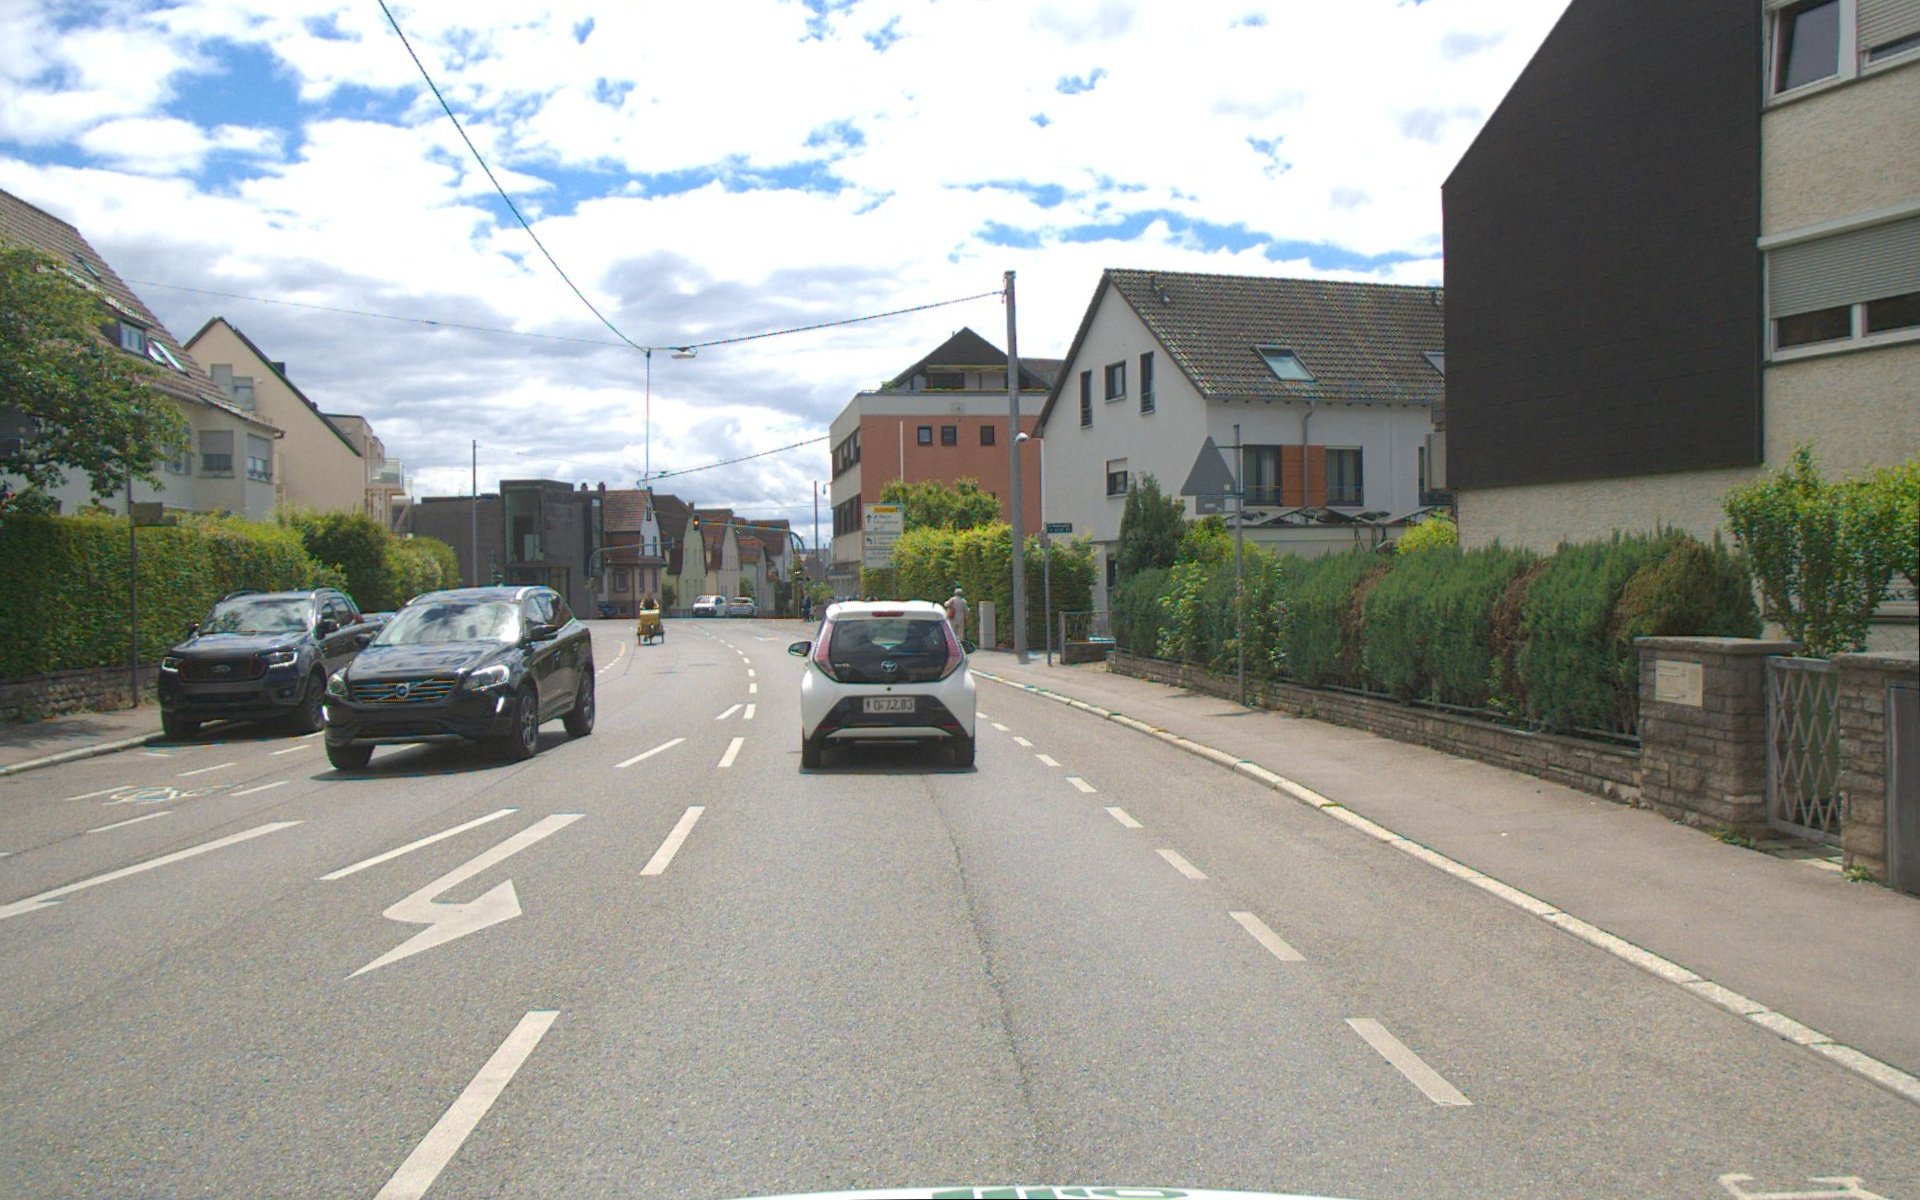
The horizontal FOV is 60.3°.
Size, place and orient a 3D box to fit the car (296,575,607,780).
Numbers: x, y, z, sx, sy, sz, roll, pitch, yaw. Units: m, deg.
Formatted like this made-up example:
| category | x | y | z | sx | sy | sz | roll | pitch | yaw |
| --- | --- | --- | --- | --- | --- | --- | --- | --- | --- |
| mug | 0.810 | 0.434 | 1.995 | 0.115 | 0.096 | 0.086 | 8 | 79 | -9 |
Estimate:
| category | x | y | z | sx | sy | sz | roll | pitch | yaw |
| --- | --- | --- | --- | --- | --- | --- | --- | --- | --- |
| car | -5.022 | 0.691 | 16.999 | 1.878 | 1.677 | 4.292 | -5 | 0 | -2 |

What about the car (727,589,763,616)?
| category | x | y | z | sx | sy | sz | roll | pitch | yaw |
| --- | --- | --- | --- | --- | --- | --- | --- | --- | --- |
| car | -16.399 | 0.196 | 126.224 | 1.952 | 1.937 | 4.002 | 1 | 0 | 4 |

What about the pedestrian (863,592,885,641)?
| category | x | y | z | sx | sy | sz | roll | pitch | yaw |
| --- | --- | --- | --- | --- | --- | --- | --- | --- | --- |
| pedestrian | -2.983 | 0.569 | 57.179 | 0.591 | 1.633 | 0.834 | -3 | 0 | -9 |

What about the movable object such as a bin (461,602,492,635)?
| category | x | y | z | sx | sy | sz | roll | pitch | yaw |
| --- | --- | --- | --- | --- | --- | --- | --- | --- | --- |
| movable object such as a bin | -19.752 | 0.745 | 67.590 | 1.045 | 1.336 | 1.212 | -1 | 0 | -9 |

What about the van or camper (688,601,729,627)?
| category | x | y | z | sx | sy | sz | roll | pitch | yaw |
| --- | --- | --- | --- | --- | --- | --- | --- | --- | --- |
| van or camper | -20.108 | 1.114 | 132.361 | 2.071 | 1.959 | 5.288 | 1 | 0 | 5 |

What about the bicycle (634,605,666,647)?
| category | x | y | z | sx | sy | sz | roll | pitch | yaw |
| --- | --- | --- | --- | --- | --- | --- | --- | --- | --- |
| bicycle | -10.396 | 0.861 | 55.514 | 0.847 | 1.324 | 2.658 | -1 | 0 | -6 |

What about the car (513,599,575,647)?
| category | x | y | z | sx | sy | sz | roll | pitch | yaw |
| --- | --- | --- | --- | --- | --- | --- | --- | --- | --- |
| car | -14.988 | 0.803 | 59.791 | 1.958 | 1.615 | 4.476 | -1 | 0 | -12 |

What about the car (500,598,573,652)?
| category | x | y | z | sx | sy | sz | roll | pitch | yaw |
| --- | --- | --- | --- | --- | --- | --- | --- | --- | --- |
| car | -13.941 | 0.782 | 54.673 | 1.957 | 1.679 | 4.506 | -1 | 0 | -10 |

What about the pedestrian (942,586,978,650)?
| category | x | y | z | sx | sy | sz | roll | pitch | yaw |
| --- | --- | --- | --- | --- | --- | --- | --- | --- | --- |
| pedestrian | -0.002 | 0.477 | 43.925 | 0.784 | 1.645 | 0.652 | -2 | 0 | -9 |

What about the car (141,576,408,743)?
| category | x | y | z | sx | sy | sz | roll | pitch | yaw |
| --- | --- | --- | --- | --- | --- | --- | --- | --- | --- |
| car | -9.249 | 0.715 | 22.864 | 1.956 | 1.928 | 5.395 | -3 | 0 | -7 |

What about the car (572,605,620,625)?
| category | x | y | z | sx | sy | sz | roll | pitch | yaw |
| --- | --- | --- | --- | --- | --- | --- | --- | --- | --- |
| car | -30.059 | 1.222 | 136.622 | 3.540 | 1.633 | 1.691 | 1 | -1 | 1 |

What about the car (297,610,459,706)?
| category | x | y | z | sx | sy | sz | roll | pitch | yaw |
| --- | --- | --- | --- | --- | --- | --- | --- | --- | --- |
| car | -9.825 | 0.930 | 28.249 | 1.744 | 1.442 | 4.332 | -1 | 0 | -8 |

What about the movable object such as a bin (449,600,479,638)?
| category | x | y | z | sx | sy | sz | roll | pitch | yaw |
| --- | --- | --- | --- | --- | --- | --- | --- | --- | --- |
| movable object such as a bin | -19.869 | 0.749 | 66.277 | 1.046 | 1.508 | 1.210 | -1 | 0 | -12 |

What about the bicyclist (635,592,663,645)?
| category | x | y | z | sx | sy | sz | roll | pitch | yaw |
| --- | --- | --- | --- | --- | --- | --- | --- | --- | --- |
| bicyclist | -10.423 | 0.614 | 55.483 | 0.777 | 1.743 | 1.207 | -1 | 0 | -5 |

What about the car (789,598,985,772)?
| category | x | y | z | sx | sy | sz | roll | pitch | yaw |
| --- | --- | --- | --- | --- | --- | --- | --- | --- | --- |
| car | -0.708 | 0.744 | 15.881 | 1.663 | 1.482 | 3.297 | 1 | 0 | -3 |
